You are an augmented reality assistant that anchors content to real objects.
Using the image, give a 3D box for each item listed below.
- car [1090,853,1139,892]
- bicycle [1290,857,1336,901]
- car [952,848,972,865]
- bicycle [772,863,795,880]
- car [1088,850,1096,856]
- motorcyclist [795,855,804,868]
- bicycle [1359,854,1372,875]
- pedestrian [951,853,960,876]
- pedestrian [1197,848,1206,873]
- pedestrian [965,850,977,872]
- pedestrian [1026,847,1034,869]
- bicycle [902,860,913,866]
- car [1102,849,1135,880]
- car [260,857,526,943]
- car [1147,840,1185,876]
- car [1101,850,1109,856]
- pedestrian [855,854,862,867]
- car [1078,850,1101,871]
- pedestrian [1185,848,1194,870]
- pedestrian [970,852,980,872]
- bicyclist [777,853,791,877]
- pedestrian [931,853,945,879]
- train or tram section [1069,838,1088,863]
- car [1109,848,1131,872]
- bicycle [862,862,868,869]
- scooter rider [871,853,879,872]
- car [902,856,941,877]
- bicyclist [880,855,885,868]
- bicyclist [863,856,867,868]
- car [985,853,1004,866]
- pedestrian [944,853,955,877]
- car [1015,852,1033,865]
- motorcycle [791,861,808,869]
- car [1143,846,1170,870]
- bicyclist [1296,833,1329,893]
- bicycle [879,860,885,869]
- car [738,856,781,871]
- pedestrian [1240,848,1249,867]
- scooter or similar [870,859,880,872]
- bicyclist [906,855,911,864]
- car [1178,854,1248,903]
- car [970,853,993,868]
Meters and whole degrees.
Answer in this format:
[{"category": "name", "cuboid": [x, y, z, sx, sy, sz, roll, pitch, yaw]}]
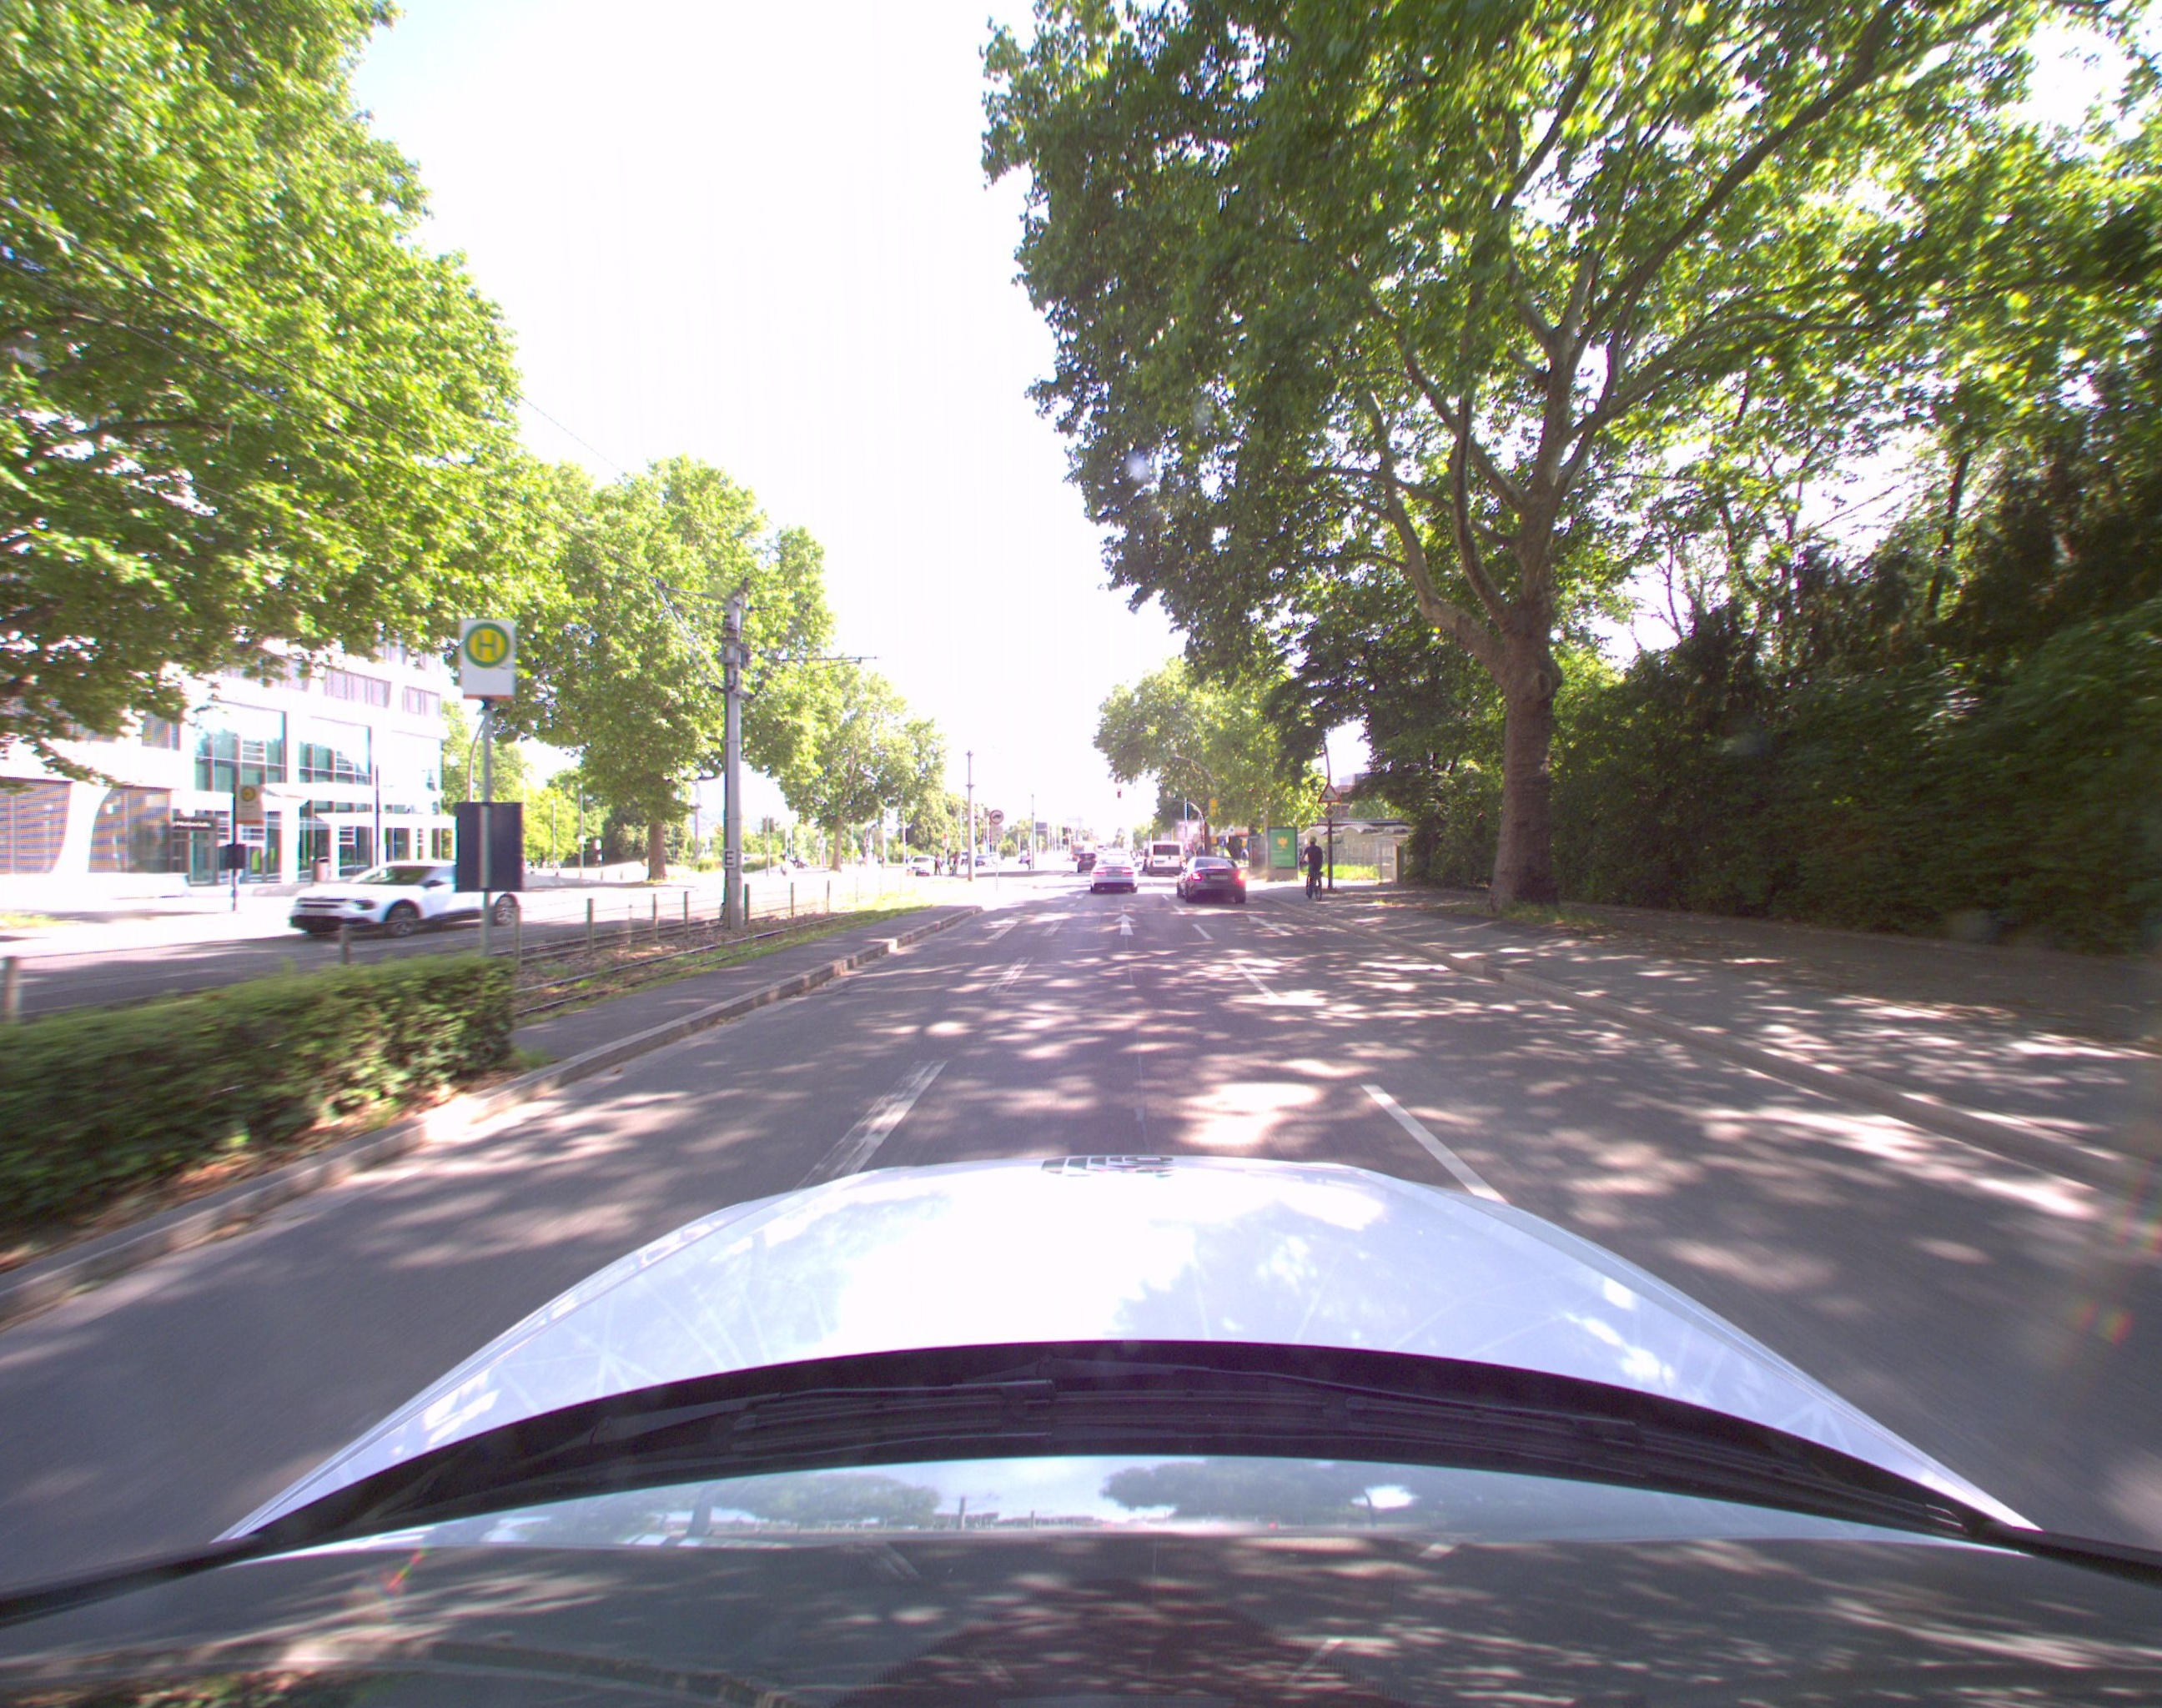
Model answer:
[{"category": "car", "cuboid": [1.323, 0.681, 31.809, 1.777, 1.420, 3.888, 0, 0, 3]}, {"category": "bicycle", "cuboid": [6.645, 0.682, 23.443, 0.711, 1.148, 2.179, -3, 1, 2]}, {"category": "car", "cuboid": [-17.330, 0.363, 118.397, 2.105, 2.383, 4.004, -1, 0, 3]}, {"category": "bicycle", "cuboid": [-19.445, 1.134, 53.261, 0.664, 1.094, 1.885, 0, 0, 3]}, {"category": "car", "cuboid": [3.063, -0.174, 223.707, 1.862, 1.609, 4.006, 0, 0, 5]}, {"category": "motorcyclist", "cuboid": [-30.276, 0.818, 87.562, 0.750, 1.314, 0.604, 0, 0, 3]}, {"category": "bicycle", "cuboid": [16.552, 0.597, 47.440, 0.387, 1.180, 1.174, 0, 0, 3]}, {"category": "pedestrian", "cuboid": [-8.996, 0.748, 58.307, 0.490, 1.679, 0.644, 0, 0, 3]}, {"category": "pedestrian", "cuboid": [9.267, 0.490, 62.589, 0.632, 1.946, 0.719, 0, 0, 3]}, {"category": "pedestrian", "cuboid": [-8.685, 0.576, 64.369, 0.769, 1.734, 0.756, 0, 0, 11]}, {"category": "pedestrian", "cuboid": [-4.627, 0.357, 74.195, 0.621, 1.918, 0.690, 0, 0, 3]}, {"category": "bicycle", "cuboid": [-23.504, 1.210, 110.137, 0.486, 0.731, 1.632, 0, 0, 31]}, {"category": "car", "cuboid": [2.095, 0.558, 45.230, 1.722, 1.605, 3.888, 0, 0, 3]}, {"category": "car", "cuboid": [-14.186, 0.854, 17.198, 1.803, 1.563, 4.307, 0, 0, 3]}, {"category": "car", "cuboid": [5.456, 0.236, 52.970, 2.221, 2.212, 4.165, 0, 0, 3]}, {"category": "car", "cuboid": [6.657, -0.176, 223.400, 1.862, 1.609, 4.006, 0, 0, 5]}, {"category": "pedestrian", "cuboid": [-25.461, 0.747, 93.222, 0.620, 1.542, 0.644, 0, 0, 1]}, {"category": "car", "cuboid": [0.731, 0.508, 66.955, 1.722, 1.631, 4.003, 0, 0, 3]}, {"category": "pedestrian", "cuboid": [8.526, 0.378, 63.966, 0.600, 1.694, 0.954, -3, 0, 3]}, {"category": "pedestrian", "cuboid": [-8.471, 0.638, 65.069, 0.532, 1.598, 0.580, 0, 0, 21]}, {"category": "bicyclist", "cuboid": [-19.423, 0.723, 53.328, 0.572, 1.604, 0.839, 0, 0, 3]}, {"category": "pedestrian", "cuboid": [-9.101, 0.753, 51.764, 0.760, 1.623, 0.590, 0, 0, -23]}, {"category": "train or tram section", "cuboid": [-0.370, -0.635, 135.899, 2.605, 4.015, 7.755, 0, 0, 3]}, {"category": "car", "cuboid": [3.243, 0.487, 66.954, 1.722, 1.901, 4.003, 0, 0, 3]}, {"category": "bicycle", "cuboid": [-23.633, 1.255, 89.094, 0.419, 0.748, 1.144, 0, 0, -4]}, {"category": "scooter rider", "cuboid": [-18.316, 0.743, 72.442, 0.504, 1.631, 0.566, 0, 0, 3]}, {"category": "car", "cuboid": [-11.894, 0.892, 61.041, 1.789, 1.488, 4.389, 0, 0, 3]}, {"category": "bicyclist", "cuboid": [-21.034, 0.781, 86.224, 0.479, 1.416, 0.590, 0, 0, -9]}, {"category": "bicyclist", "cuboid": [-23.623, 0.874, 89.089, 0.384, 1.311, 0.465, 0, 0, -4]}, {"category": "car", "cuboid": [-11.044, 0.644, 104.211, 1.756, 1.609, 3.863, 0, 0, 3]}, {"category": "pedestrian", "cuboid": [-9.245, 0.754, 57.271, 0.590, 1.646, 0.555, 0, 0, 3]}, {"category": "car", "cuboid": [-7.970, 0.654, 114.024, 1.985, 1.734, 4.003, 0, 0, 3]}, {"category": "motorcycle", "cuboid": [-30.252, 1.191, 87.558, 1.637, 0.891, 0.650, 0, 0, 2]}, {"category": "car", "cuboid": [6.286, 0.325, 67.883, 2.063, 1.999, 4.061, 0, 0, 3]}, {"category": "bicyclist", "cuboid": [6.649, 0.252, 23.417, 0.632, 1.648, 0.980, -3, 0, 2]}, {"category": "bicycle", "cuboid": [-21.037, 1.126, 86.132, 0.484, 0.961, 1.649, 0, 0, -9]}, {"category": "car", "cuboid": [-33.861, 0.989, 85.838, 3.831, 1.549, 1.771, 0, 0, 3]}, {"category": "pedestrian", "cuboid": [15.691, 0.364, 78.181, 0.771, 1.788, 0.768, -1, 0, 21]}, {"category": "scooter or similar", "cuboid": [-18.318, 1.033, 72.440, 0.545, 1.112, 1.249, 0, 0, 3]}, {"category": "bicyclist", "cuboid": [-23.395, 0.771, 110.323, 0.469, 1.292, 0.500, 0, 0, 31]}, {"category": "car", "cuboid": [4.097, 0.710, 25.807, 1.775, 1.420, 4.003, 0, 0, 3]}, {"category": "car", "cuboid": [-11.084, 0.698, 90.664, 1.863, 1.609, 4.003, 0, 0, 3]}]
